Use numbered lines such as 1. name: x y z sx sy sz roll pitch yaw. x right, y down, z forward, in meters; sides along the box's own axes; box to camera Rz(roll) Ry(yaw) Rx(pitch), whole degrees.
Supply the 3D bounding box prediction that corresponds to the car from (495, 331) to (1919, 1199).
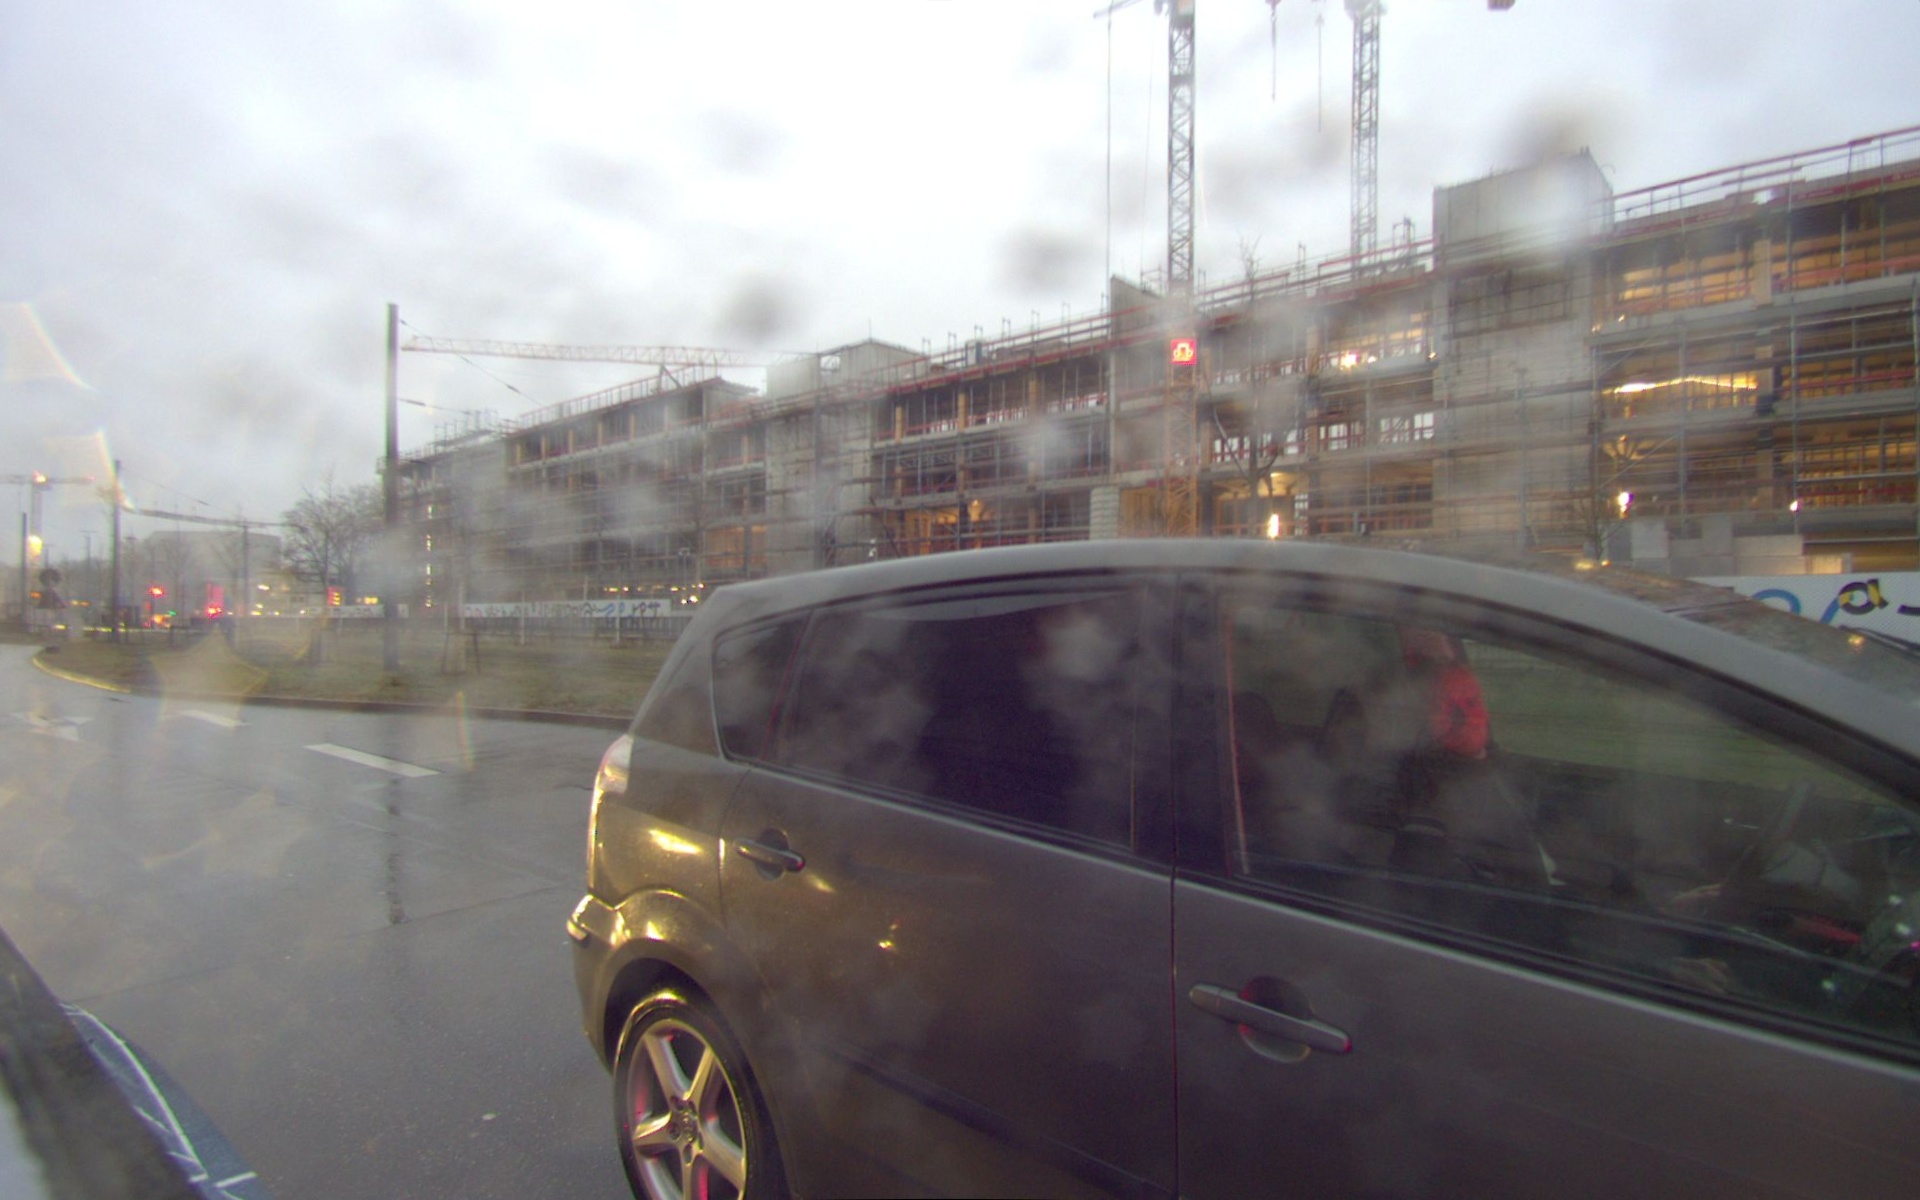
1. car: 1.006 0.606 1.891 4.131 1.659 1.793 -1 -1 39
